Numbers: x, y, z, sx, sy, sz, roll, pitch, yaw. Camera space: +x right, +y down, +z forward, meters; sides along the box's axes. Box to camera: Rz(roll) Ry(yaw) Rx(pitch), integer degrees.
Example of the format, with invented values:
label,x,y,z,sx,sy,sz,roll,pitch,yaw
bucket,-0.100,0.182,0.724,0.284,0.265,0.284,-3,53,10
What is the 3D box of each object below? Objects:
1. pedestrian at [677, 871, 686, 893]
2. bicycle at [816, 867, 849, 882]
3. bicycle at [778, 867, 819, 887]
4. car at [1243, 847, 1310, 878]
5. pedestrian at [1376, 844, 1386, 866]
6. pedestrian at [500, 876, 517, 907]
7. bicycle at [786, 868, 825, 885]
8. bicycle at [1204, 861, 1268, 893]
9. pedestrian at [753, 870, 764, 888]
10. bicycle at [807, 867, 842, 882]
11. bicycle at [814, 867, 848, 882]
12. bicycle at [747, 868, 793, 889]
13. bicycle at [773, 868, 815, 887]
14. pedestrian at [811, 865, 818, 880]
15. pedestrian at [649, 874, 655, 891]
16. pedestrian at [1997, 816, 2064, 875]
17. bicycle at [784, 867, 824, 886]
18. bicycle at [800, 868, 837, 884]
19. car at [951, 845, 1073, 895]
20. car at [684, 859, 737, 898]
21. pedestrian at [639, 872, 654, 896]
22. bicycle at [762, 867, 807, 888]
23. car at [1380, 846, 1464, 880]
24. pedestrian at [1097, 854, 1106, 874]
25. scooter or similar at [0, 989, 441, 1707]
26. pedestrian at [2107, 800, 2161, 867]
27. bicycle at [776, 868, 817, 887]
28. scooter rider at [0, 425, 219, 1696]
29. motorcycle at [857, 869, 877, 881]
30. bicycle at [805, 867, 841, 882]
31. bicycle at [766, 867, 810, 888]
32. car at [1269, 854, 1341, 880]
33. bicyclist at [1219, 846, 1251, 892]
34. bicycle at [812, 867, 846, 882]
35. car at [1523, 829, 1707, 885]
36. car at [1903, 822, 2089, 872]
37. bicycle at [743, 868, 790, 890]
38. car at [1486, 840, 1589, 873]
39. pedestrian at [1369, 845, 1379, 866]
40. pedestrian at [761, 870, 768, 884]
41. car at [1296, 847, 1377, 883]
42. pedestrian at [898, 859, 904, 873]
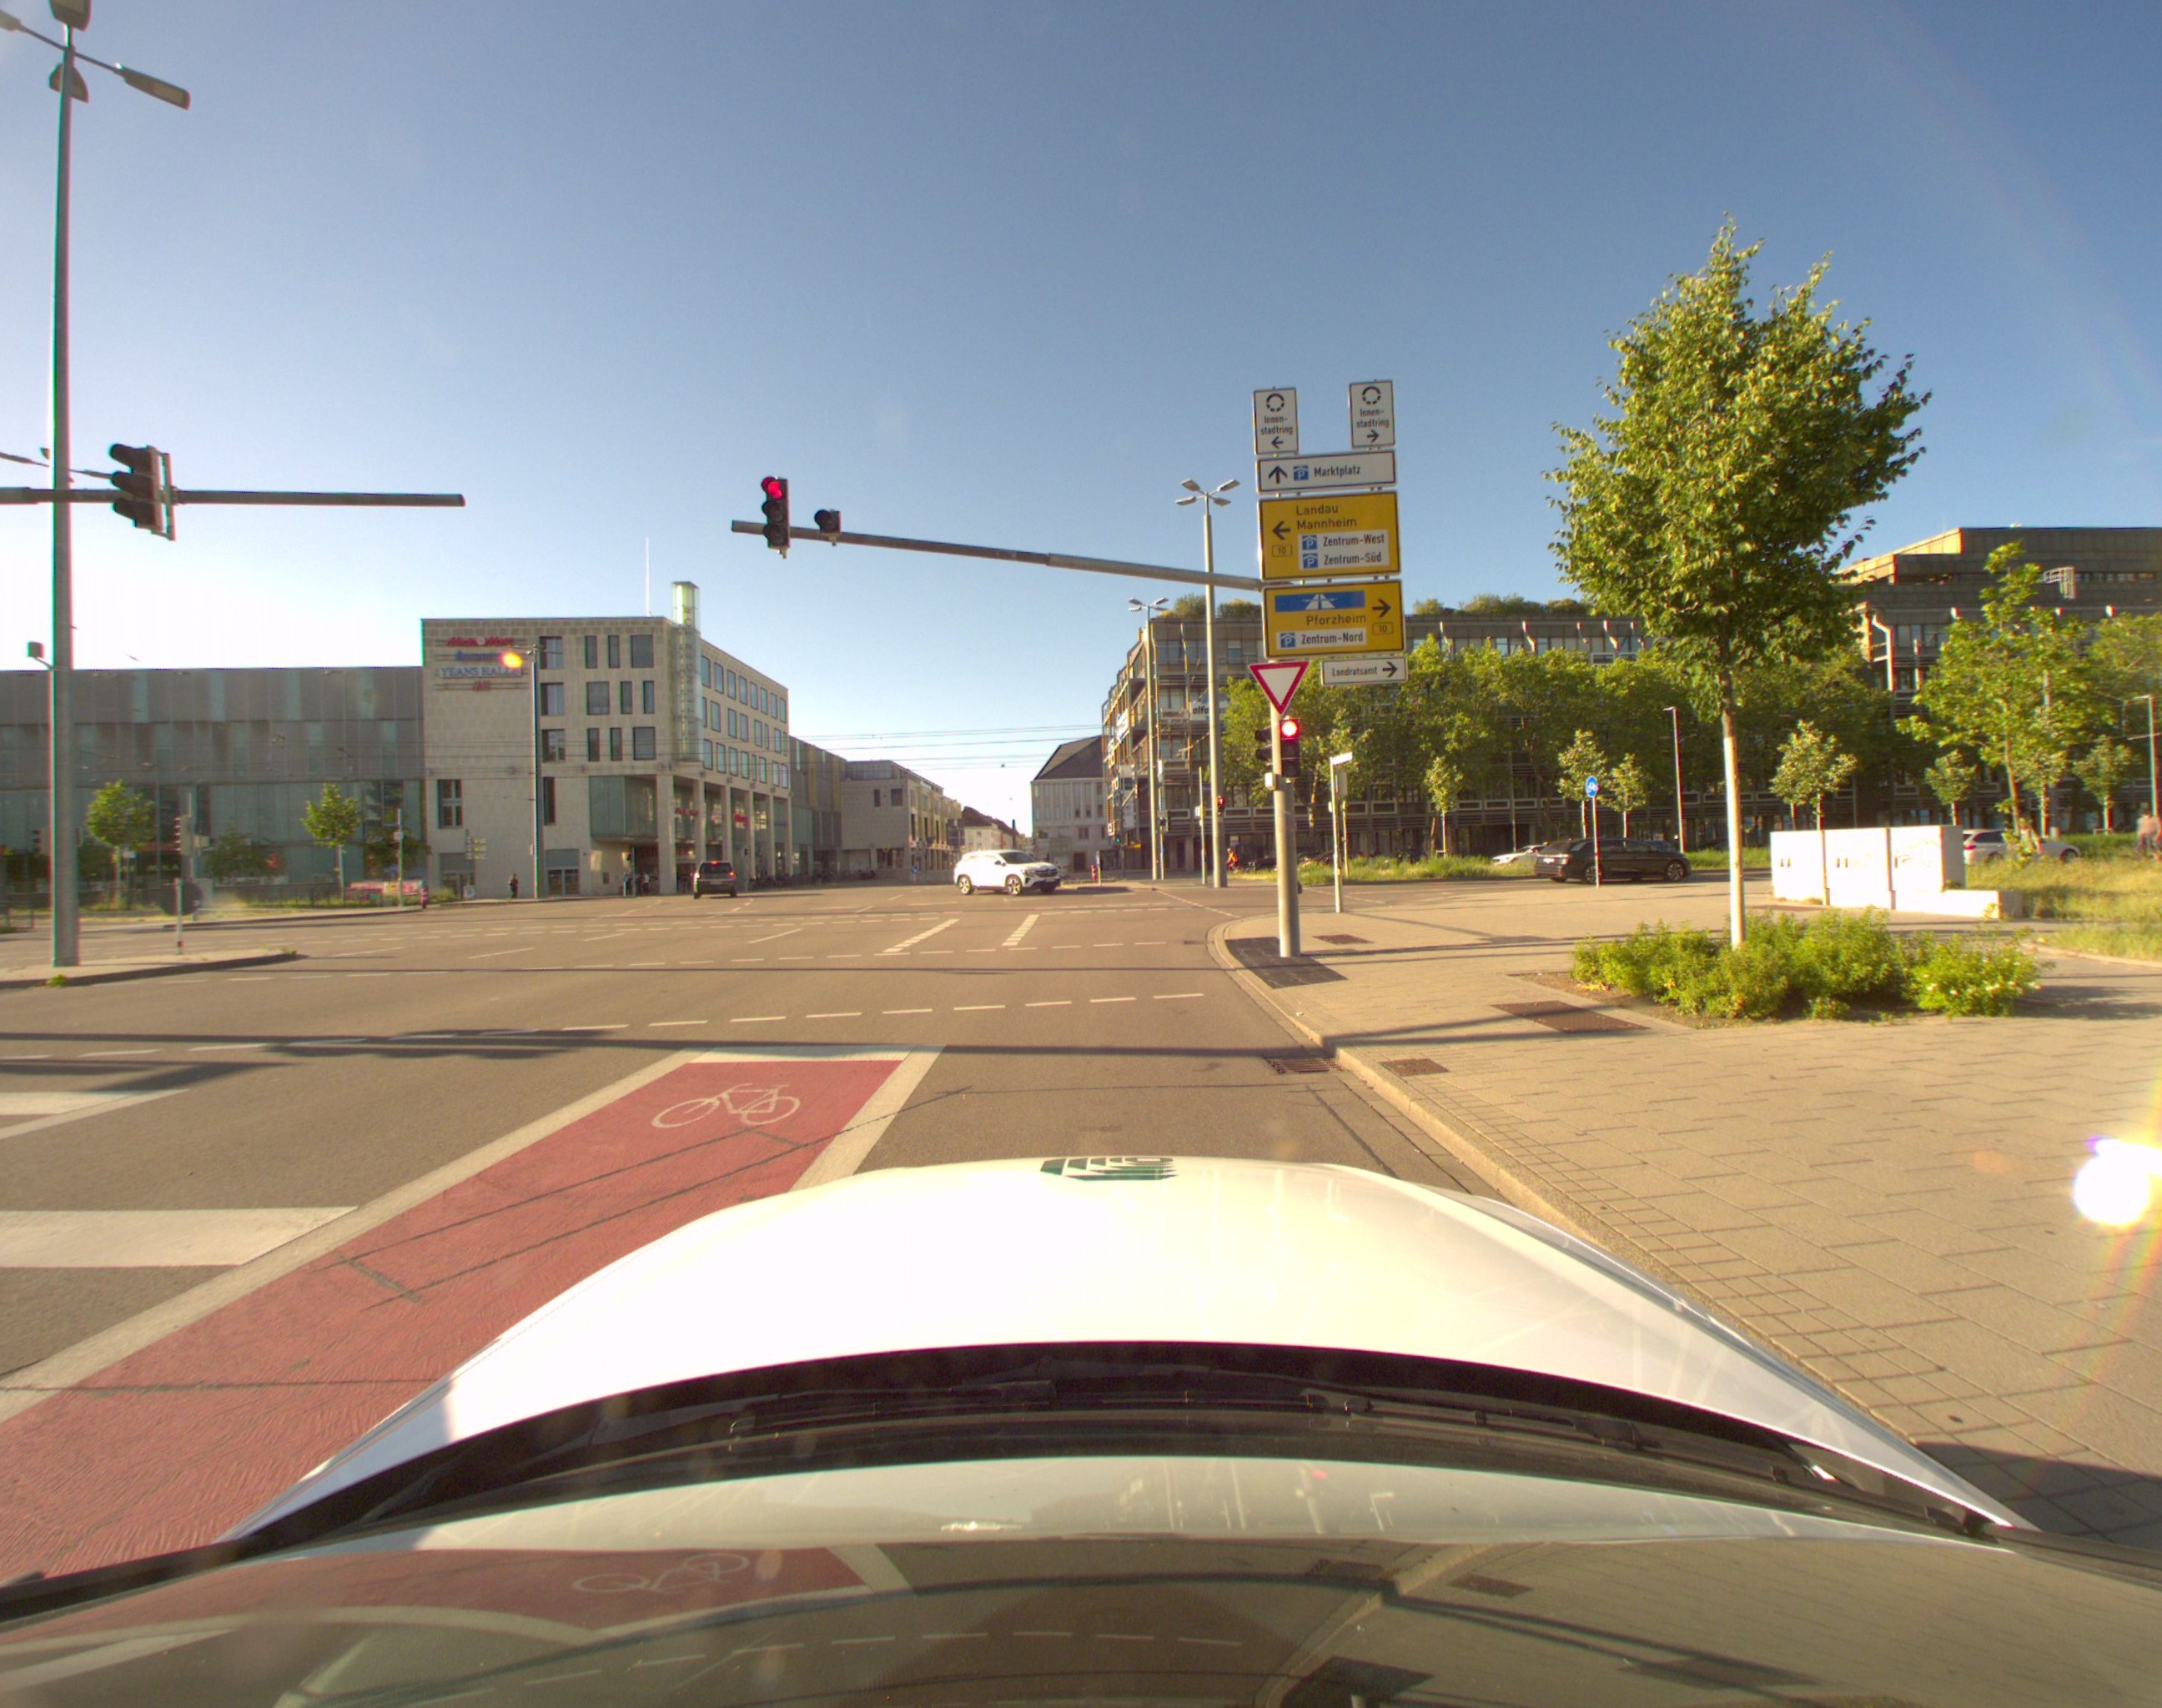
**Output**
label,x,y,z,sx,sy,sz,roll,pitch,yaw
pedestrian,-30.412,2.150,61.953,0.542,1.642,0.546,-2,0,-21
bicycle,-28.291,2.328,92.781,3.491,1.527,0.984,-2,0,-10
bicycle,-27.045,2.209,78.069,3.491,1.696,0.984,-2,0,-10
car,12.838,0.560,53.624,3.975,2.014,1.999,0,-1,-1
pedestrian,22.695,0.063,61.659,0.538,1.669,0.537,-2,0,-1
pedestrian,-32.834,2.146,46.741,0.523,1.694,0.548,-2,0,3
bicycle,-27.411,2.225,81.162,3.491,1.527,0.984,-2,0,-10
bicycle,8.925,1.315,47.068,3.488,1.659,0.929,-2,0,-7
pedestrian,-30.409,2.335,76.713,0.784,1.642,0.693,-2,0,-9
bicycle,-27.924,2.211,88.581,3.491,1.527,0.984,-2,0,-10
bicycle,-28.174,2.290,91.751,3.491,1.527,0.984,-2,0,-10
bicycle,-26.912,2.134,70.509,3.488,1.696,1.114,-2,0,-7
bicycle,-26.682,2.179,75.764,3.491,1.696,0.984,-2,0,-10
pedestrian,-30.103,2.125,92.021,0.652,1.642,0.693,-2,0,-7
pedestrian,-36.826,2.430,69.862,0.389,1.426,0.497,-2,0,-34
pedestrian,27.002,-0.240,23.175,0.801,1.630,0.939,-2,0,-12
bicycle,-27.250,2.233,80.165,3.491,1.696,0.984,-2,0,-10
bicycle,-27.550,2.290,85.584,3.491,1.527,0.984,-2,0,-10
car,-2.566,0.580,29.747,4.350,1.660,2.012,-2,0,44
car,-16.585,1.044,36.611,2.002,1.607,4.446,1,0,-23
pedestrian,-33.527,2.298,62.855,0.755,1.798,0.737,-2,0,-1
bicycle,-26.145,2.069,71.957,3.488,1.696,1.114,-2,0,-7
car,21.404,0.561,51.248,4.435,2.014,1.998,0,-1,-4
pedestrian,1.776,0.878,69.637,0.661,1.658,0.755,-2,0,-1
scooter or similar,-1.861,0.918,1.033,0.725,1.202,1.665,-1,0,2
pedestrian,28.267,-0.531,21.668,0.694,1.728,0.939,-2,0,-12
bicycle,-26.857,2.198,76.860,3.491,1.696,0.984,-2,0,-10
scooter rider,-1.881,0.286,1.011,0.726,1.775,0.811,-1,0,1
motorcycle,-25.969,2.534,98.868,2.269,1.318,0.719,-2,0,-4
bicycle,-27.655,2.211,87.452,3.491,1.527,0.984,-2,0,-10
bicycle,-26.322,2.114,73.177,3.488,1.696,1.114,-2,0,-7
car,13.850,0.782,50.476,3.976,1.508,1.867,-1,0,-2
bicyclist,8.884,0.854,47.072,1.566,2.580,0.929,-2,0,-7
bicycle,-27.931,2.248,90.358,3.491,1.527,0.984,-2,0,-10
car,17.771,0.079,27.233,4.927,1.601,1.998,-2,1,-4
car,32.058,-0.242,28.603,4.681,1.528,1.996,-2,0,-6
bicycle,-26.733,2.096,69.296,3.488,1.696,1.114,-2,0,-7
car,28.892,0.144,51.654,5.424,2.014,2.097,0,-1,-1
pedestrian,22.446,0.132,62.399,0.538,1.590,0.586,-2,0,-1
pedestrian,-33.356,2.392,85.825,0.640,1.435,0.472,-2,0,-21
car,14.451,0.618,46.210,3.975,2.014,1.999,0,-1,-1
pedestrian,-26.475,1.713,119.511,0.623,2.013,0.734,-2,0,4
